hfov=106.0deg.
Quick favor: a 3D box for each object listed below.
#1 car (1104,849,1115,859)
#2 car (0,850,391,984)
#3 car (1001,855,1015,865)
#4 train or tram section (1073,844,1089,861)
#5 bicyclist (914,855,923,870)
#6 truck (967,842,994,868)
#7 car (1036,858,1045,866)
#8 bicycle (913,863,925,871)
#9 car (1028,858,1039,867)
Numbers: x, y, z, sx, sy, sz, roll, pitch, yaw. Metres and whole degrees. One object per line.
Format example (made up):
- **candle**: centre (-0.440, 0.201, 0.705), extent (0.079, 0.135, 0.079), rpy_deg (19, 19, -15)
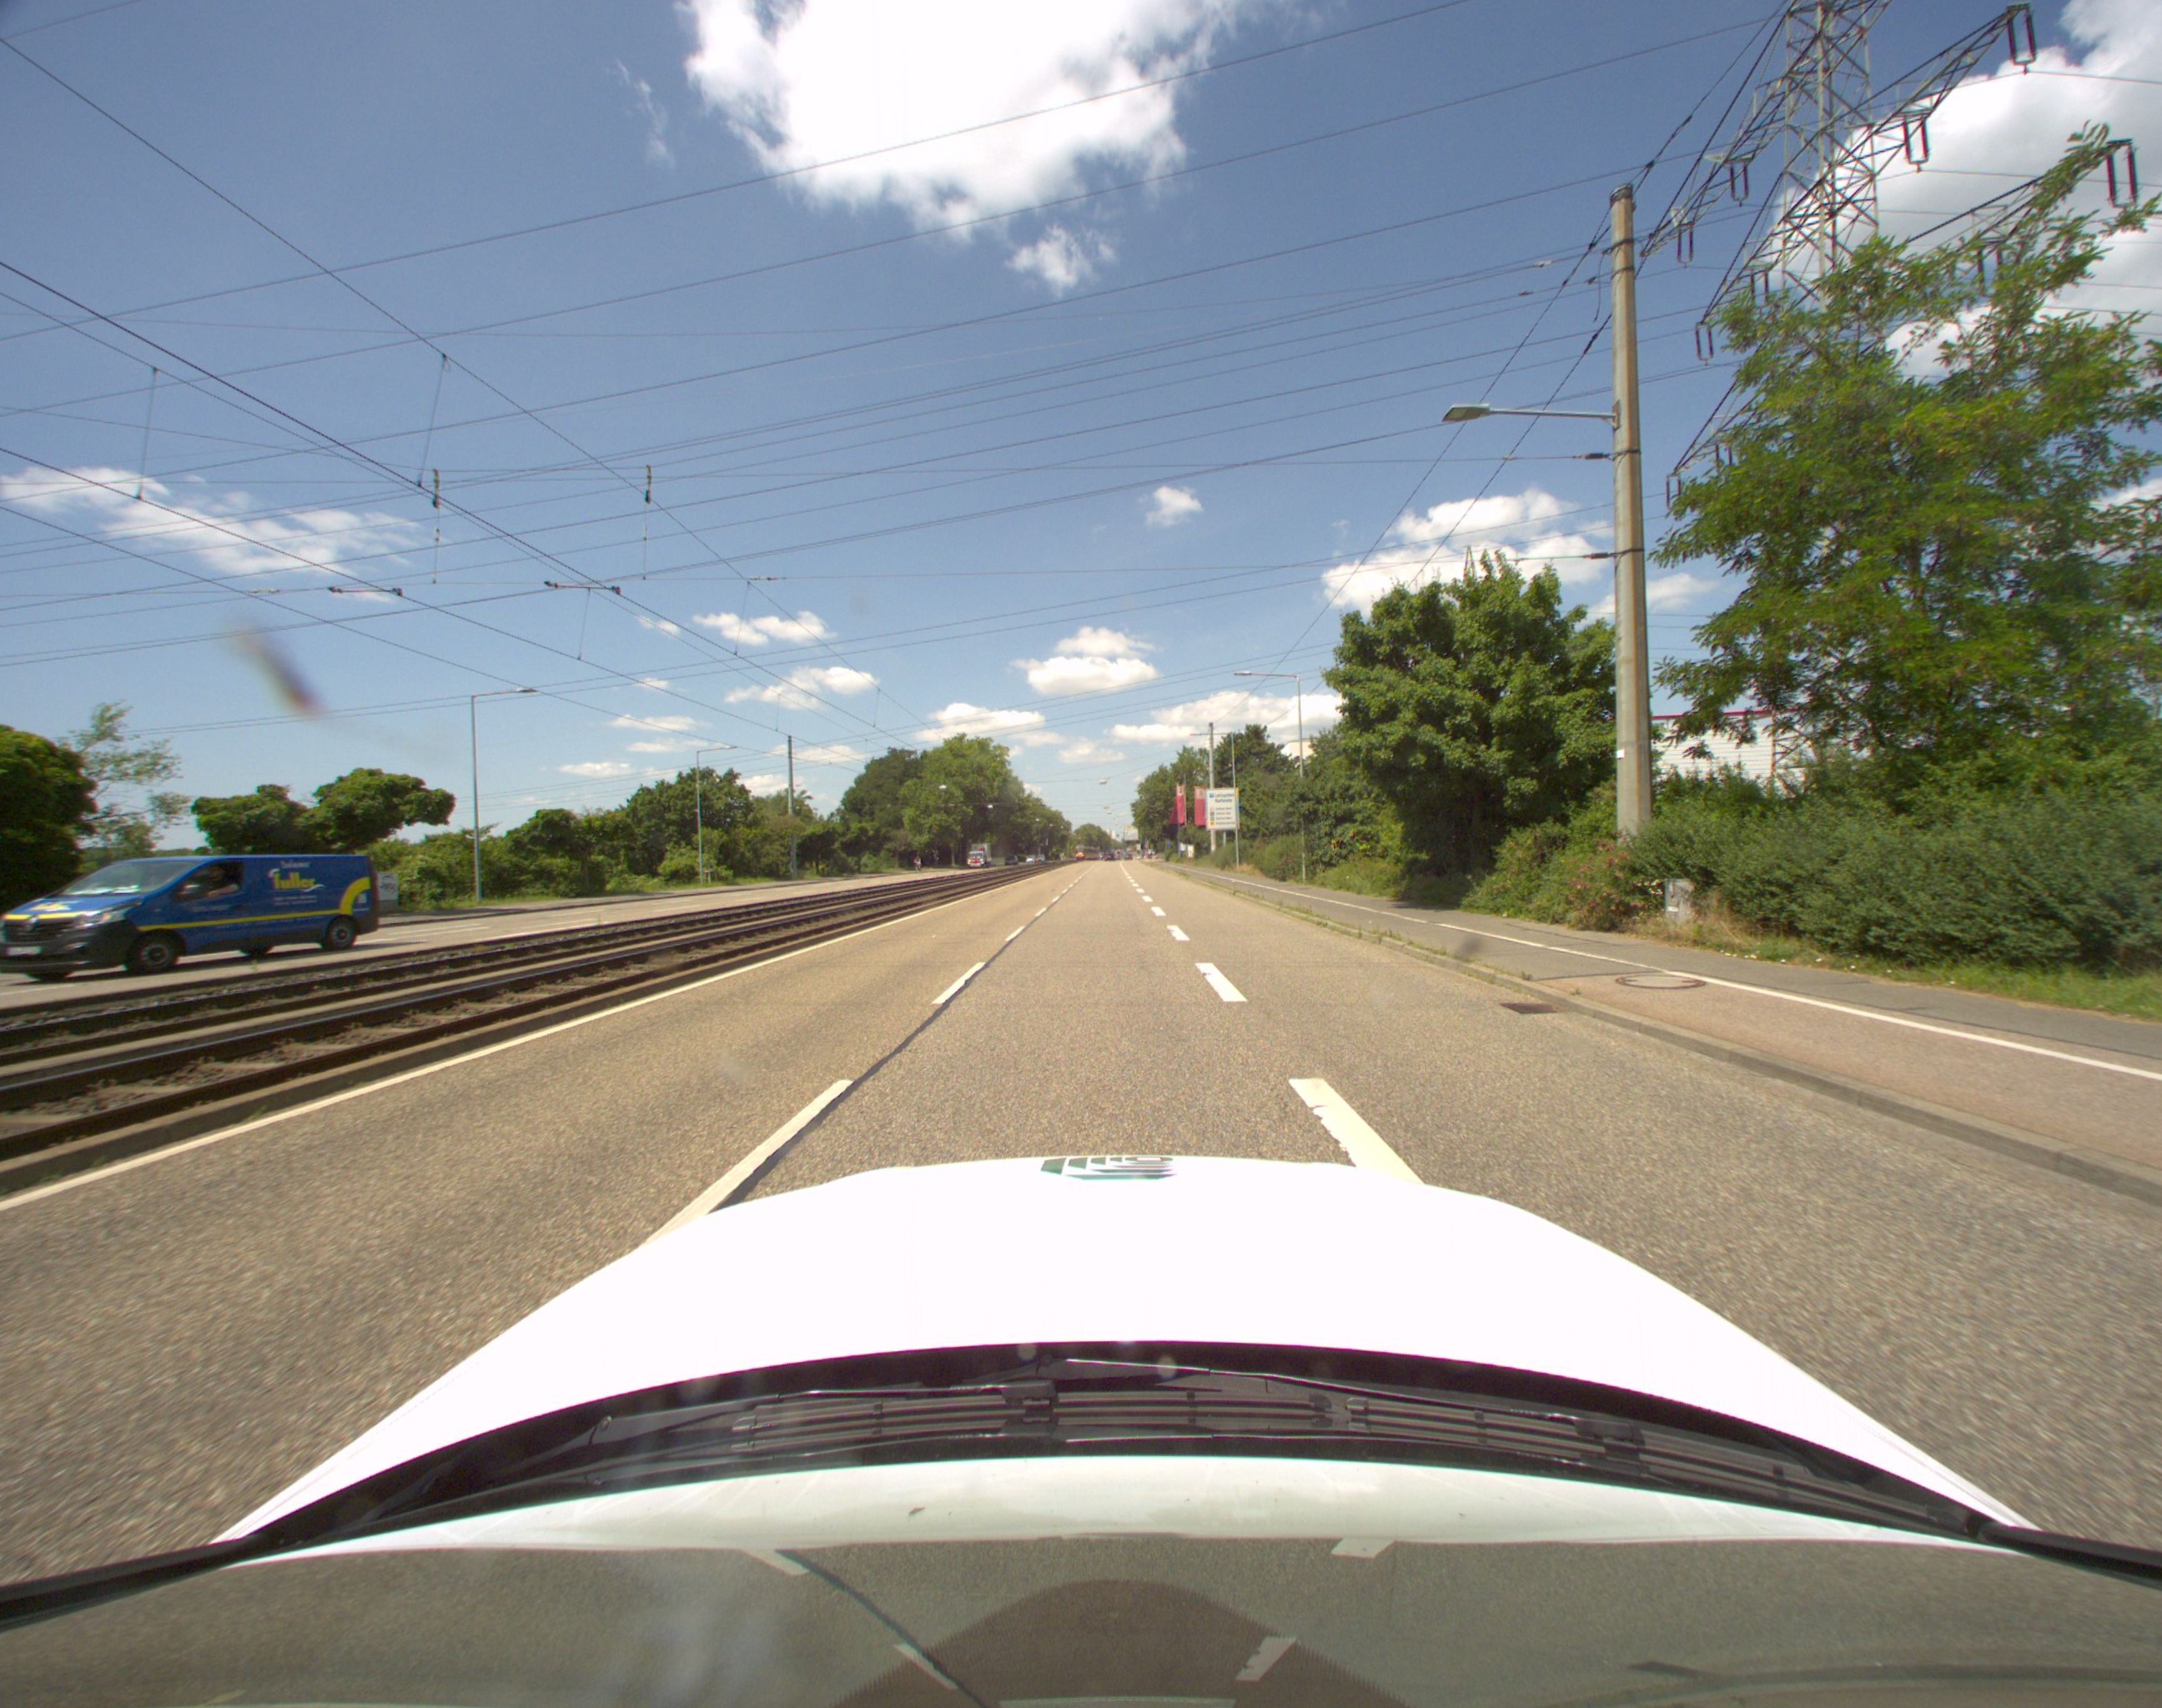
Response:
- **car**: centre (5.205, 0.023, 147.423), extent (1.892, 1.805, 3.978), rpy_deg (0, 0, 2)
- **car**: centre (-15.624, 0.953, 14.694), extent (1.850, 1.927, 5.010), rpy_deg (-3, 0, 2)
- **car**: centre (-11.321, 0.929, 126.858), extent (1.746, 1.535, 3.958), rpy_deg (-3, 0, 1)
- **train or tram section**: centre (0.019, -0.385, 208.922), extent (3.035, 4.267, 15.436), rpy_deg (-2, 0, 3)
- **bicyclist**: centre (-17.811, 0.902, 89.533), extent (0.647, 1.620, 1.157), rpy_deg (0, 0, 6)
- **truck**: centre (-12.903, 0.113, 104.624), extent (2.240, 3.236, 6.047), rpy_deg (-2, 0, 3)
- **car**: centre (-8.533, 1.707, 173.211), extent (1.631, 1.436, 3.722), rpy_deg (-3, 0, 1)
- **bicycle**: centre (-17.810, 1.437, 89.615), extent (0.647, 0.859, 2.124), rpy_deg (0, 0, 6)
- **car**: centre (-9.032, 1.616, 154.961), extent (1.630, 1.421, 4.130), rpy_deg (-3, 0, 3)
